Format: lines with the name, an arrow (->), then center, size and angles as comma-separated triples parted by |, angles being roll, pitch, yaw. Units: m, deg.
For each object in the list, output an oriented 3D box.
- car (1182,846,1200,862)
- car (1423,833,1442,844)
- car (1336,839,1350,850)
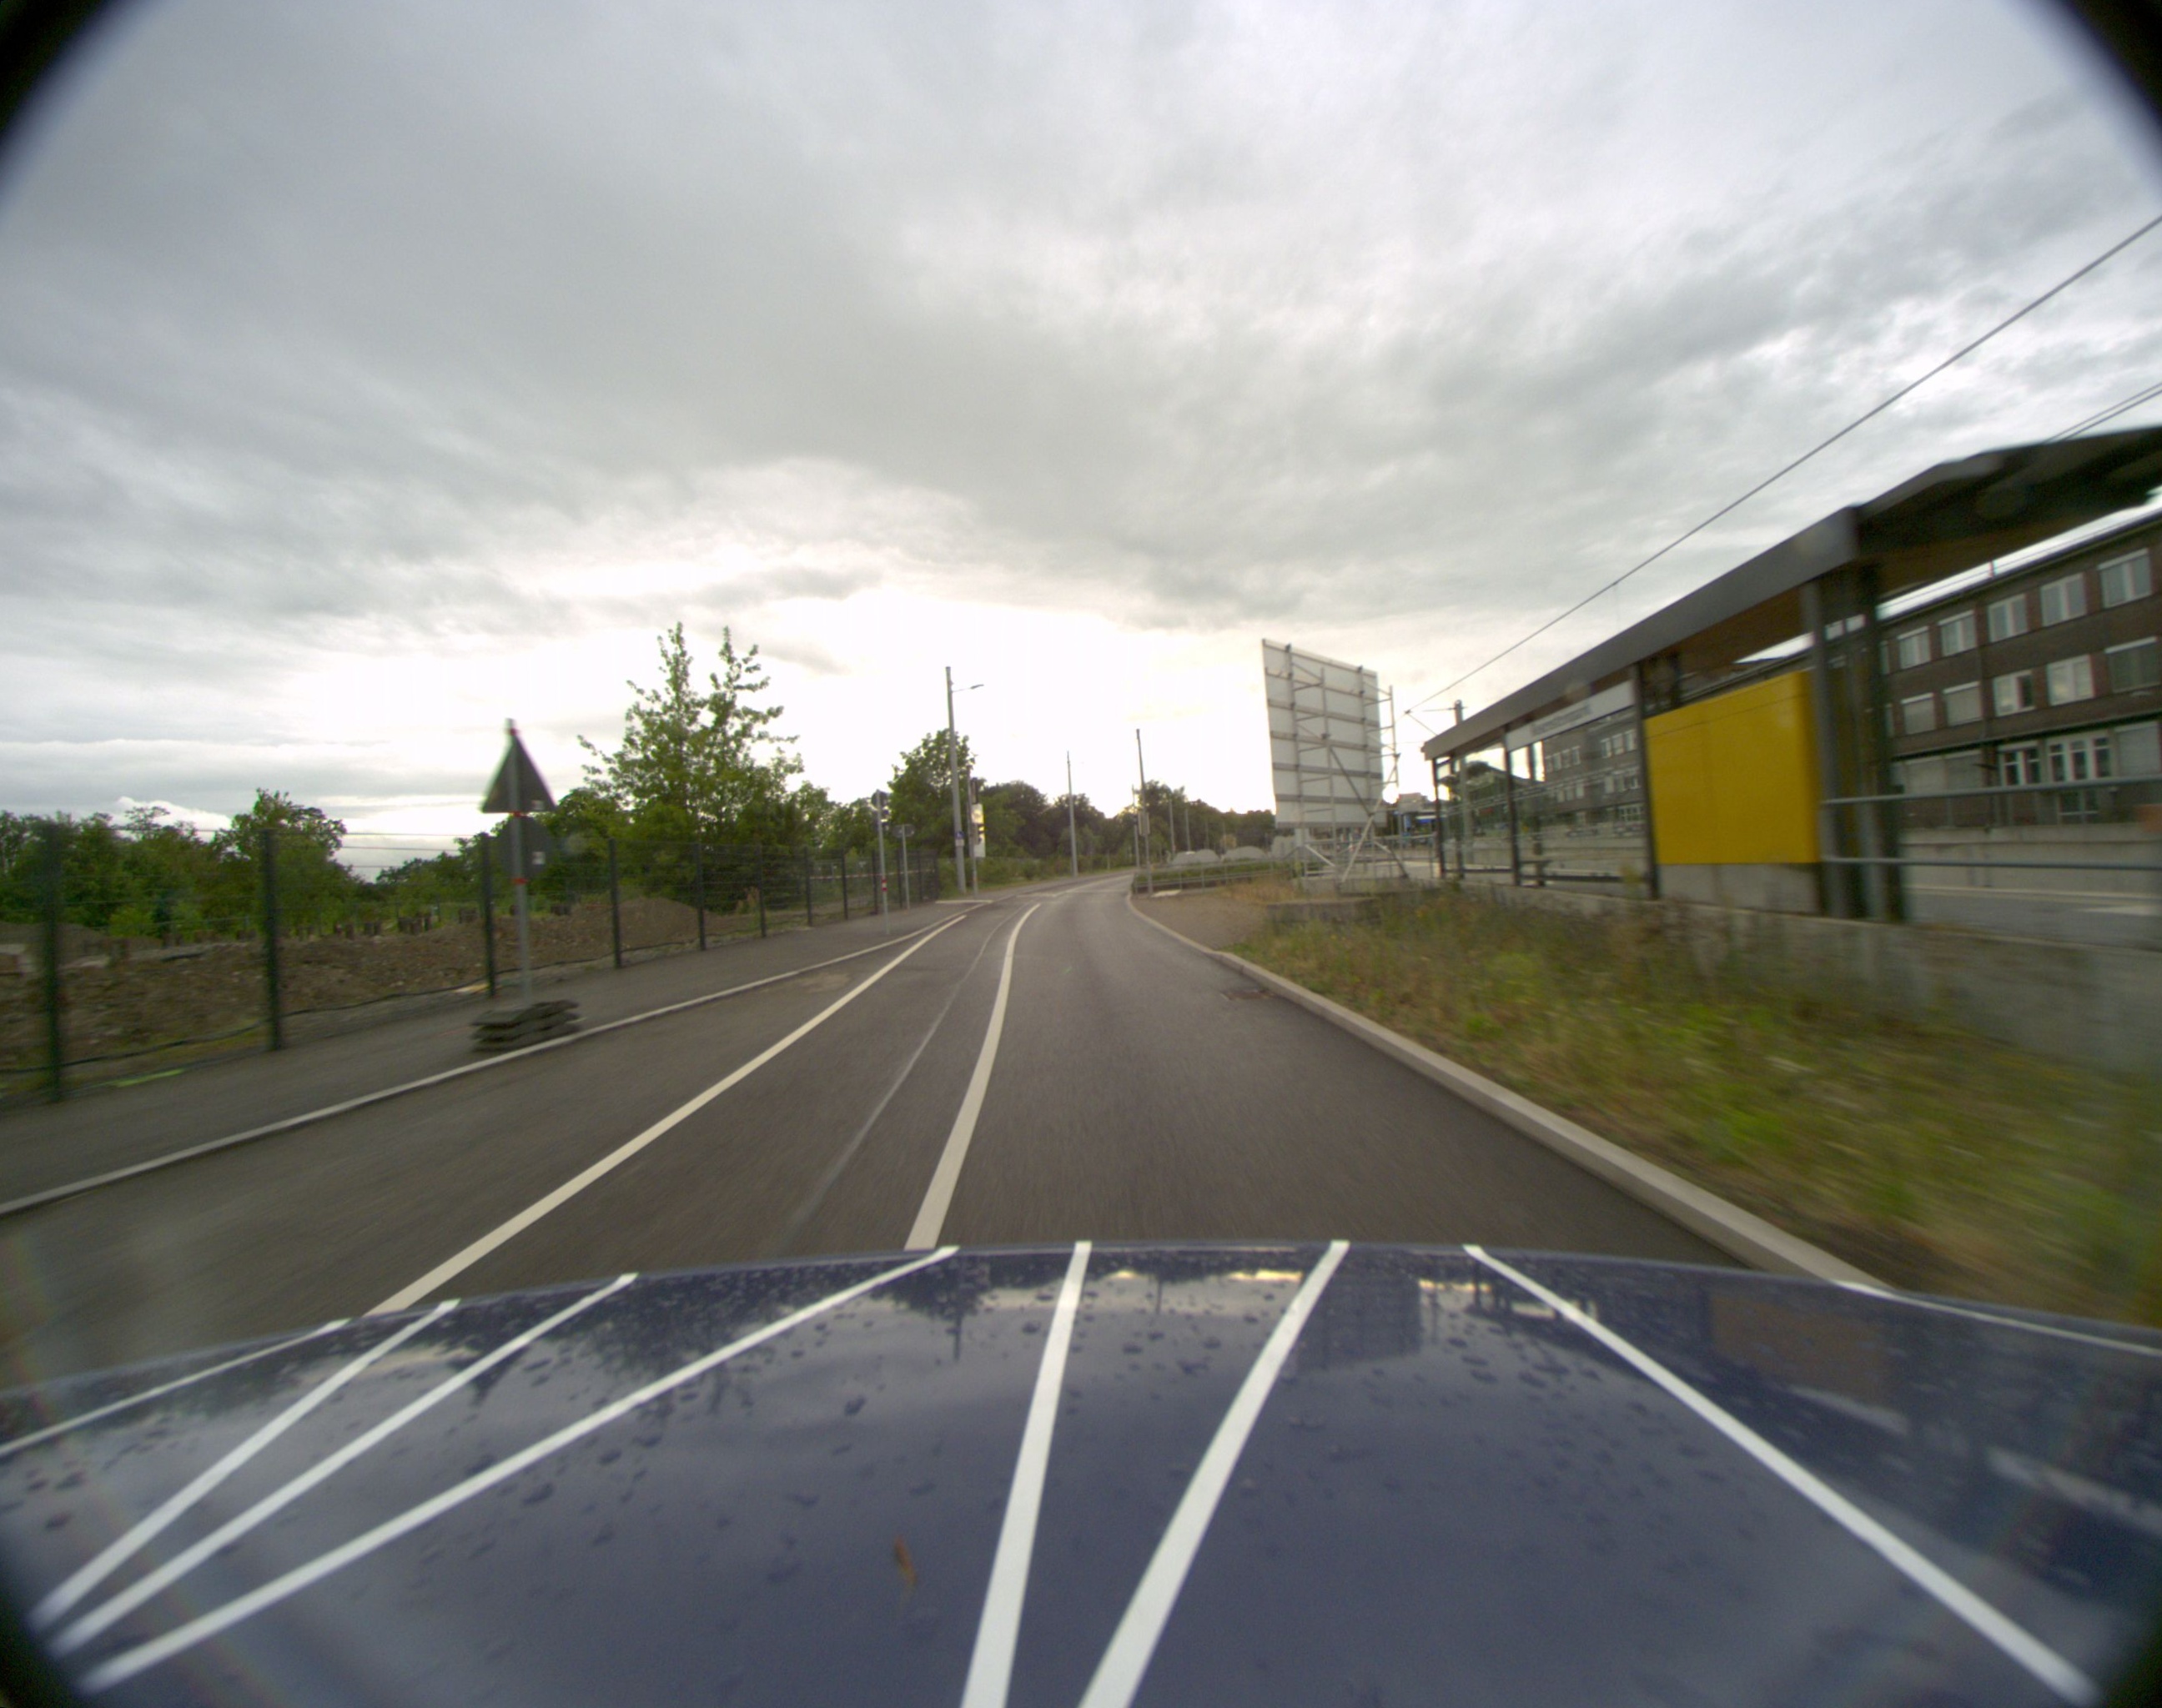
car -> 15.208, 0.004, 104.807 | 1.997, 2.002, 4.004 | -2, 0, 12
car -> 61.468, -2.750, 132.903 | 1.997, 1.761, 4.003 | -3, 0, 11
car -> 52.764, -1.941, 153.241 | 1.997, 2.002, 4.003 | -2, 0, 9
